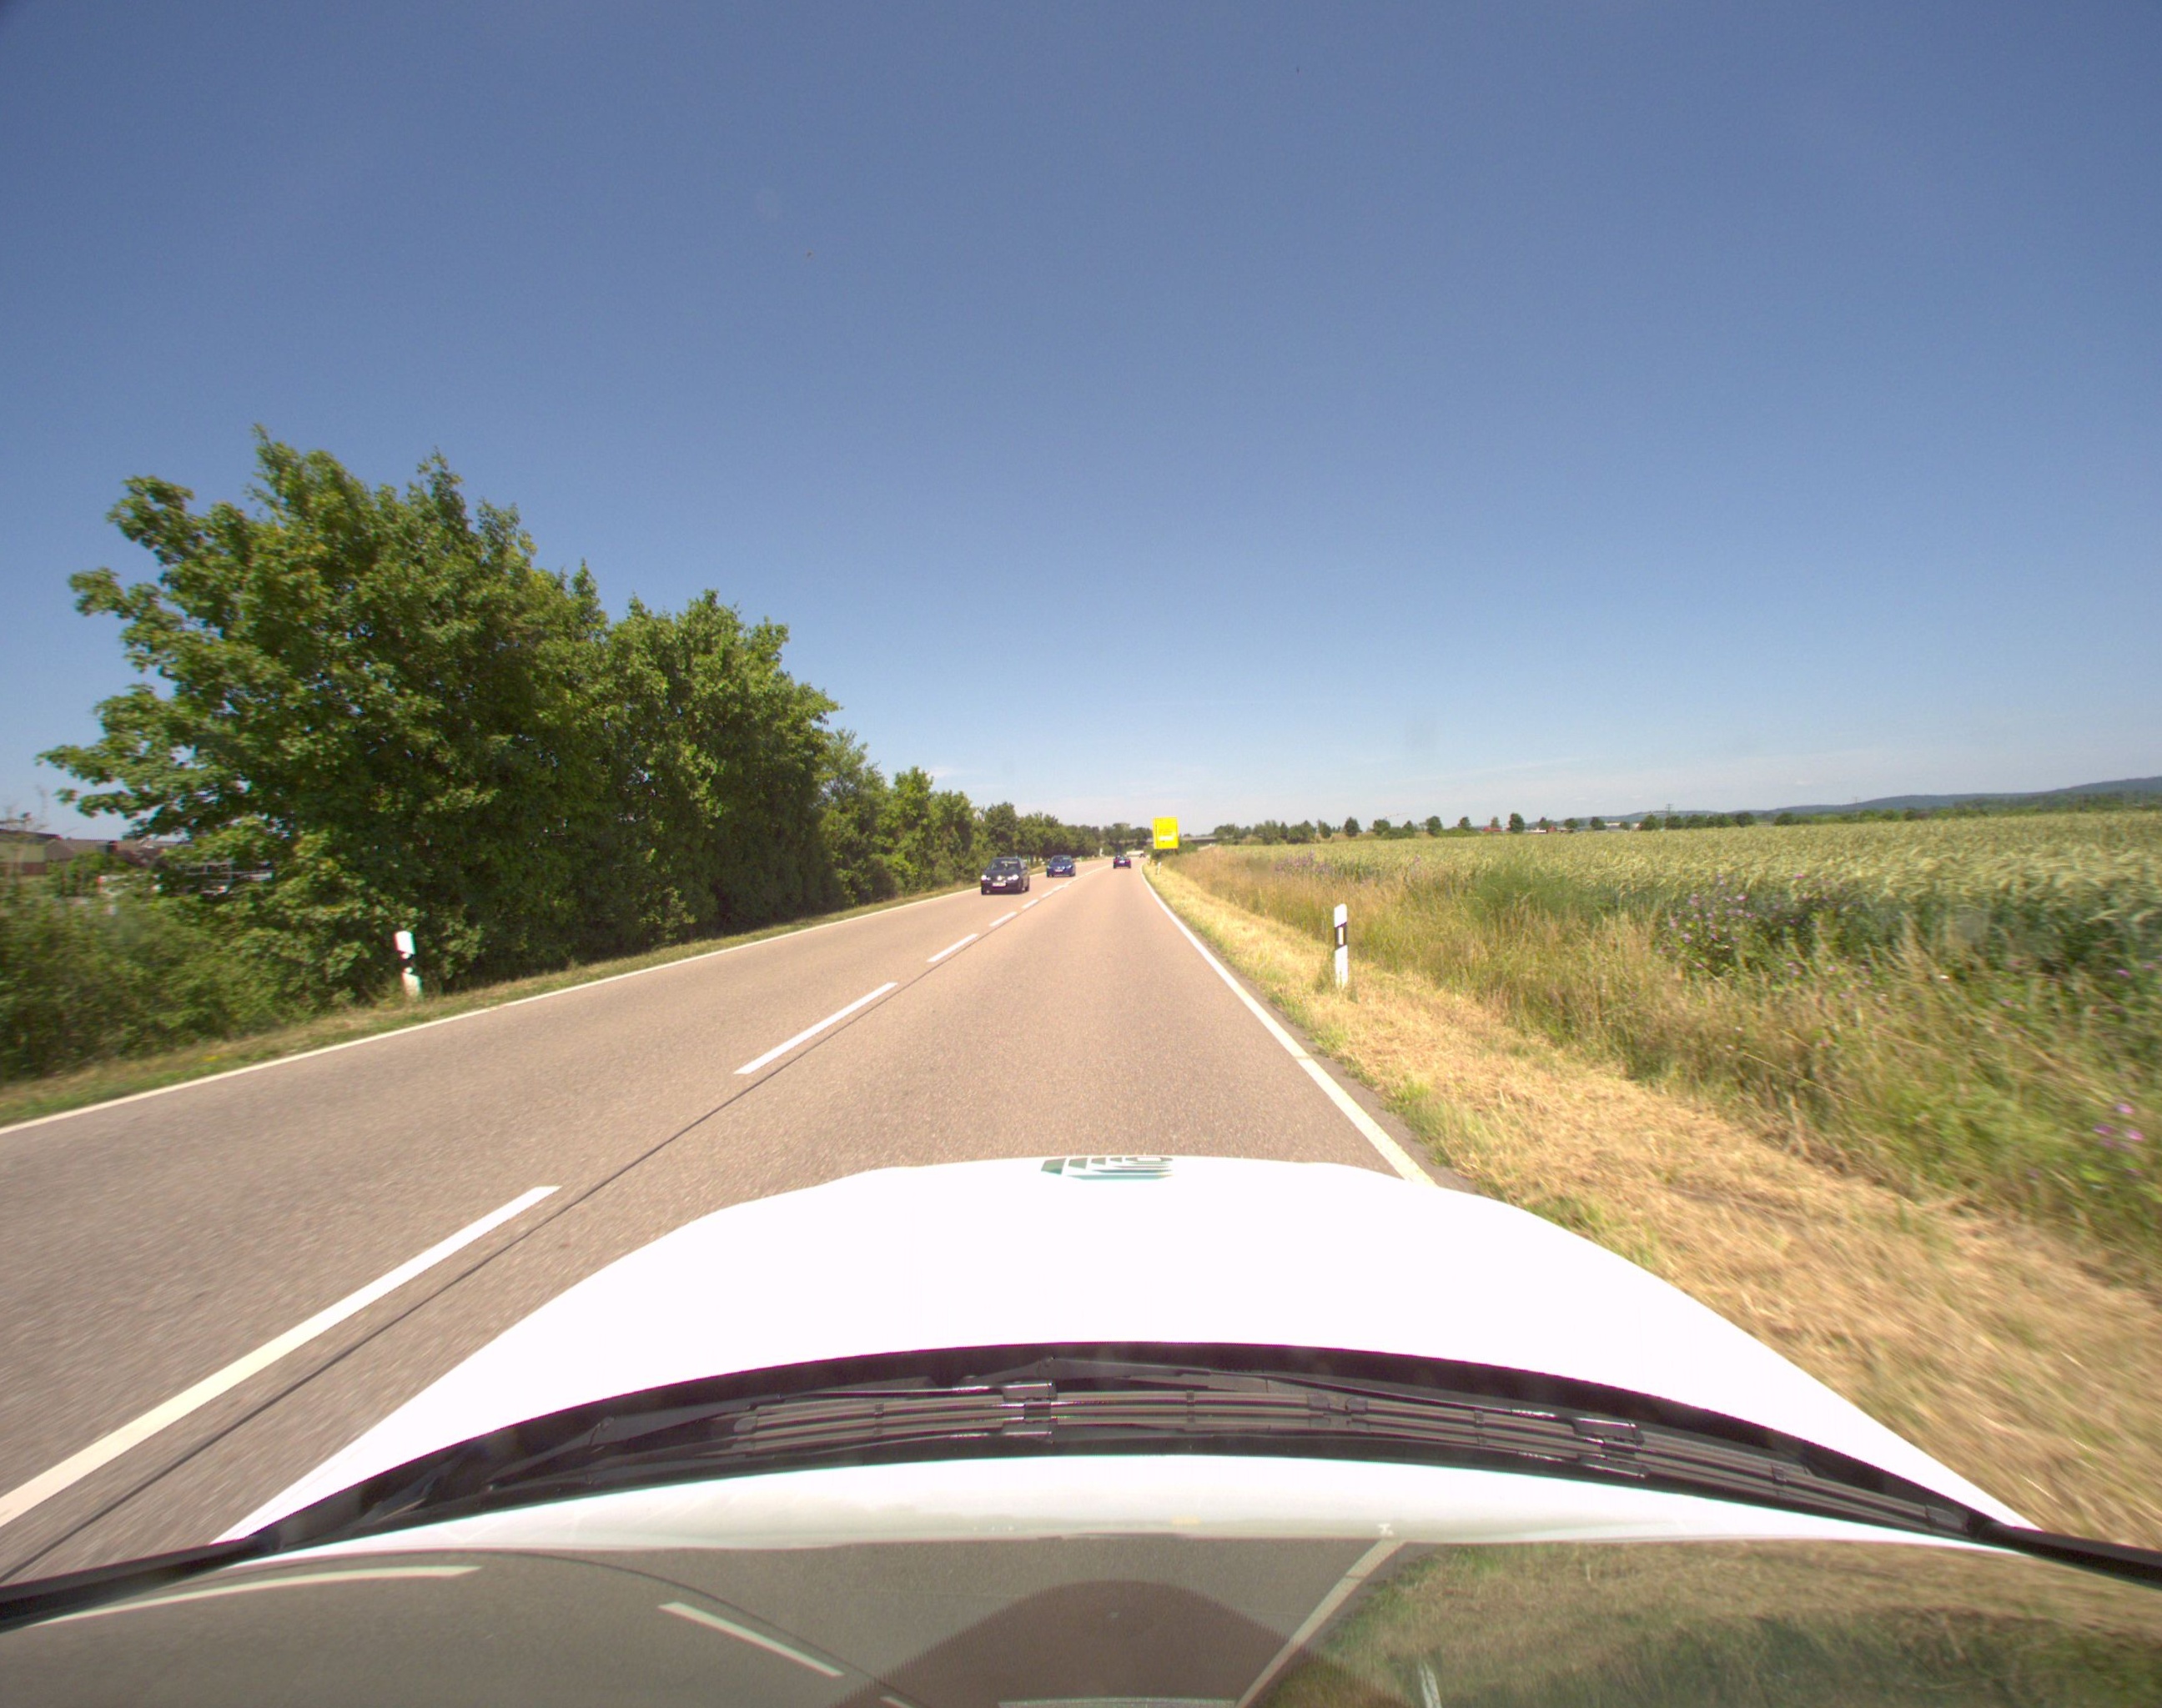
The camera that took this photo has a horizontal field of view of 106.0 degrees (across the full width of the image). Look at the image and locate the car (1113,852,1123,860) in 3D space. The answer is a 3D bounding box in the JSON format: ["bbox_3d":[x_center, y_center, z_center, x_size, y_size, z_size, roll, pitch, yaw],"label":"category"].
[{"bbox_3d":[7.037,0.432,153.399,1.773,1.420,4.539,-1,0,4],"label":"car"}]

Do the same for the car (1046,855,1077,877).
[{"bbox_3d":[-1.282,0.768,55.422,1.645,1.407,4.005,-1,0,4],"label":"car"}]

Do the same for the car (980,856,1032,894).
[{"bbox_3d":[-3.024,0.807,33.373,1.591,1.442,4.002,-1,0,2],"label":"car"}]

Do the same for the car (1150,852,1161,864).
[{"bbox_3d":[13.512,0.760,148.290,1.740,2.014,4.001,0,-1,1],"label":"car"}]

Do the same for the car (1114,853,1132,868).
[{"bbox_3d":[4.226,0.687,81.901,1.807,1.441,4.003,-1,0,3],"label":"car"}]
